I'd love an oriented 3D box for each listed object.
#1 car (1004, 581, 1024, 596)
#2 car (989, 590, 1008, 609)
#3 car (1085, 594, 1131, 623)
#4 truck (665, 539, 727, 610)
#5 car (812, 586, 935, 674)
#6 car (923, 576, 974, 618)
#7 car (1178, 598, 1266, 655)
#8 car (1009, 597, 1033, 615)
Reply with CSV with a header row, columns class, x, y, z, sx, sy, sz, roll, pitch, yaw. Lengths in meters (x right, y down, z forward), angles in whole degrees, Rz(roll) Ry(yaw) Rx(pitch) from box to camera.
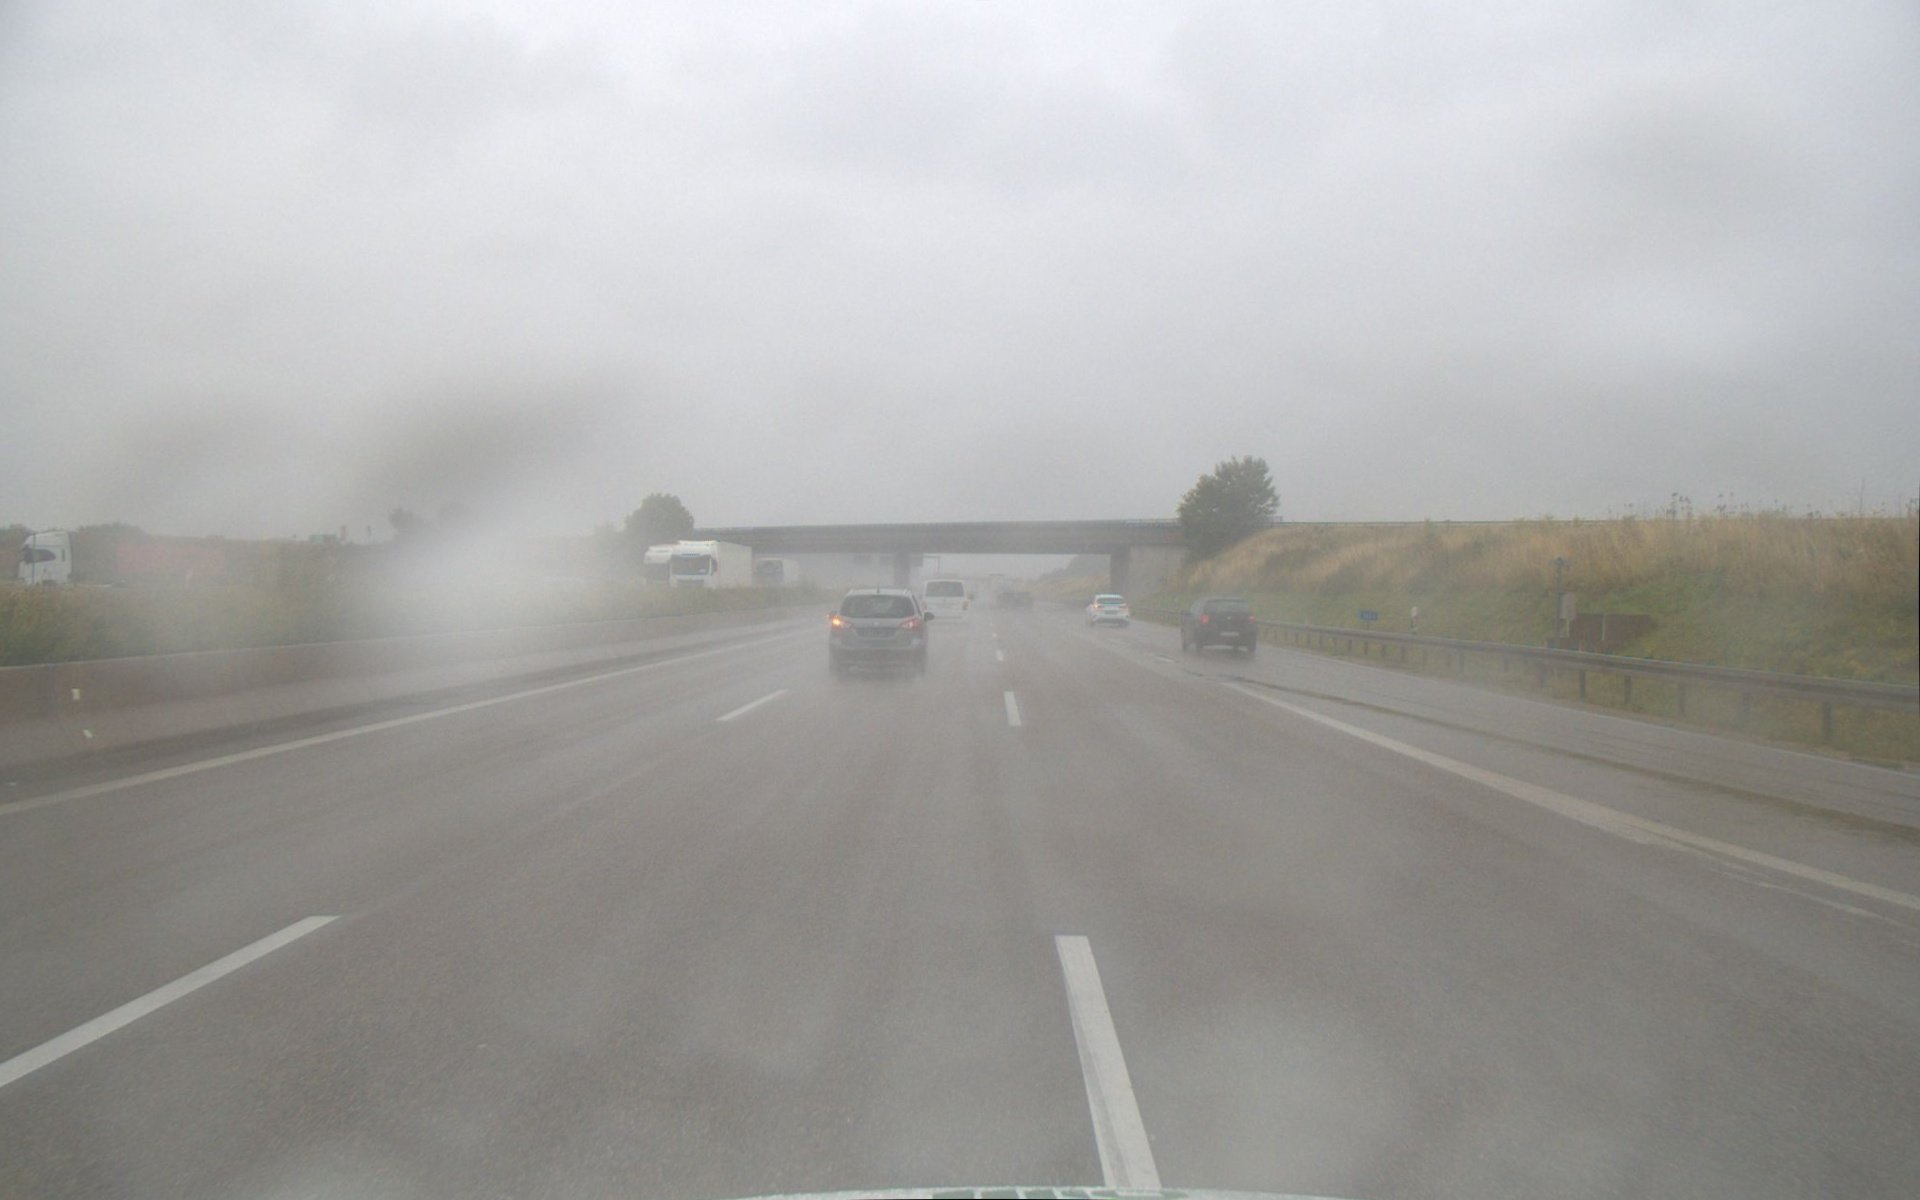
class,x,y,z,sx,sy,sz,roll,pitch,yaw
car,5.506,-1.168,169.423,1.952,1.489,4.000,0,0,1
car,4.502,-0.059,192.563,1.953,2.138,3.999,0,0,-2
car,6.799,0.388,76.234,1.952,1.288,4.001,0,0,3
truck,-15.058,-1.426,94.661,2.702,3.914,4.819,1,0,0
car,-1.547,0.522,31.282,1.807,1.539,4.758,0,0,3
car,-0.417,-0.103,64.737,1.858,1.613,4.000,0,0,1
car,7.059,0.679,44.879,1.697,1.446,3.657,0,0,-2
car,5.181,0.494,141.303,1.764,1.534,3.999,0,0,-1
